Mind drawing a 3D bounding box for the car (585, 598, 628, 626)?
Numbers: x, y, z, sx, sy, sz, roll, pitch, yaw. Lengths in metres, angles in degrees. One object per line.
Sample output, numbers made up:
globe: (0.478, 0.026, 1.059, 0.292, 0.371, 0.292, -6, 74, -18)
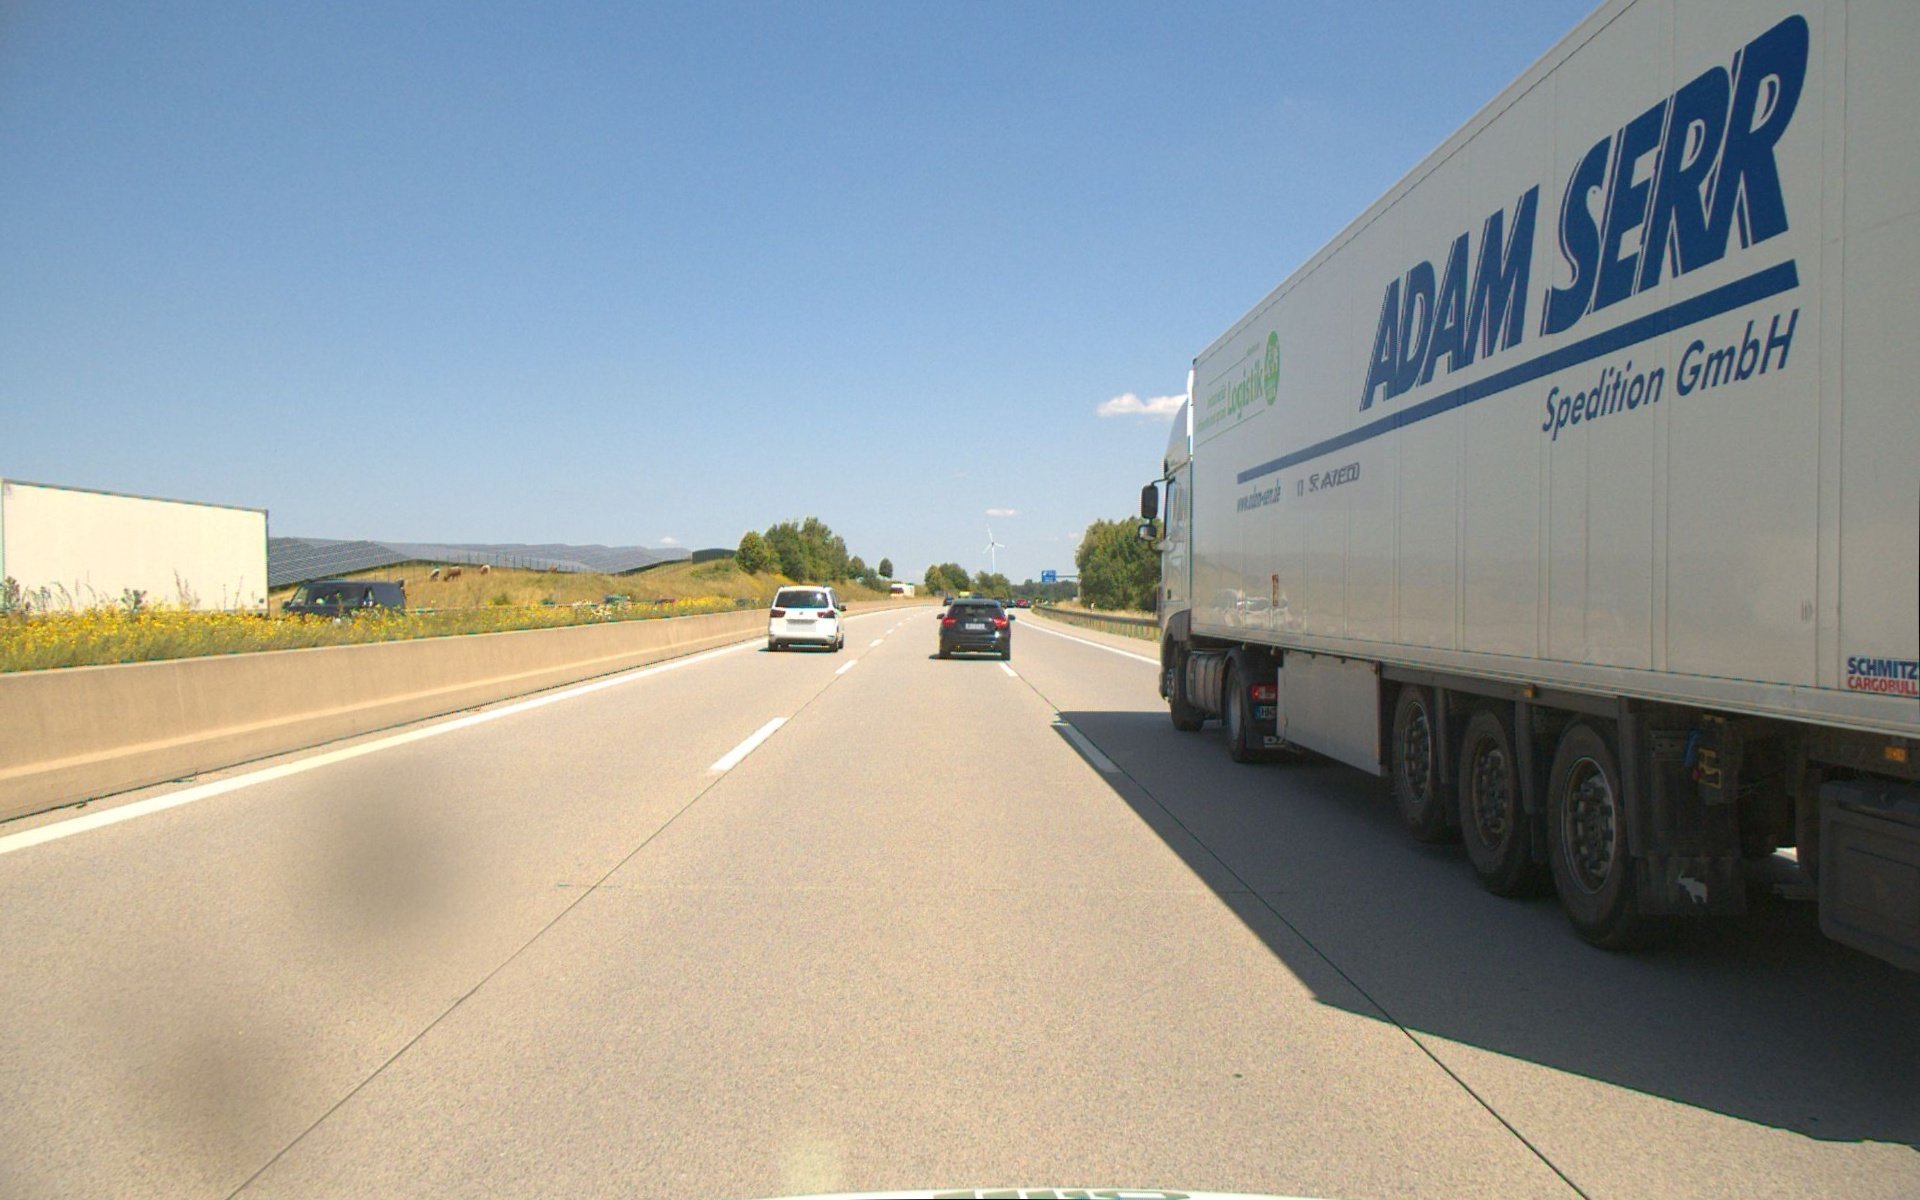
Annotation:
car: (-20.872, 0.697, 97.779, 1.616, 1.579, 3.968, 2, 0, 0)

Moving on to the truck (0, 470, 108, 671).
truck: (-20.983, -0.629, 34.164, 3.027, 4.074, 7.253, 1, 0, -1)

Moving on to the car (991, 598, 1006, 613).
car: (5.012, 0.723, 212.262, 1.789, 1.940, 4.001, 1, 0, 3)

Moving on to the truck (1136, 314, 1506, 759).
truck: (3.738, -0.604, 18.567, 2.755, 4.159, 5.797, 1, 0, -1)

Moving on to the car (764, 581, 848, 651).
car: (-4.140, 0.429, 45.312, 1.808, 1.738, 6.034, 1, 0, -1)

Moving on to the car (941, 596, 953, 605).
car: (-1.873, 0.028, 238.343, 1.622, 1.217, 3.959, 3, 0, -1)

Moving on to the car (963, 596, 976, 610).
car: (1.366, 0.386, 233.298, 1.789, 1.971, 3.809, 1, 0, 0)

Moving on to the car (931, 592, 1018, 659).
car: (0.304, 0.597, 41.200, 1.872, 1.518, 4.189, 2, 0, -3)

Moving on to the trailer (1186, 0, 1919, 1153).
trailer: (3.875, -0.554, 10.496, 2.795, 4.113, 12.709, 1, 0, -1)

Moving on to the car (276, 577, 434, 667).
car: (-14.779, 0.502, 40.735, 2.029, 2.005, 5.030, 2, 0, -1)

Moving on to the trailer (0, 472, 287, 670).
trailer: (-21.096, -0.595, 41.182, 3.027, 4.074, 14.137, 1, 0, -1)
